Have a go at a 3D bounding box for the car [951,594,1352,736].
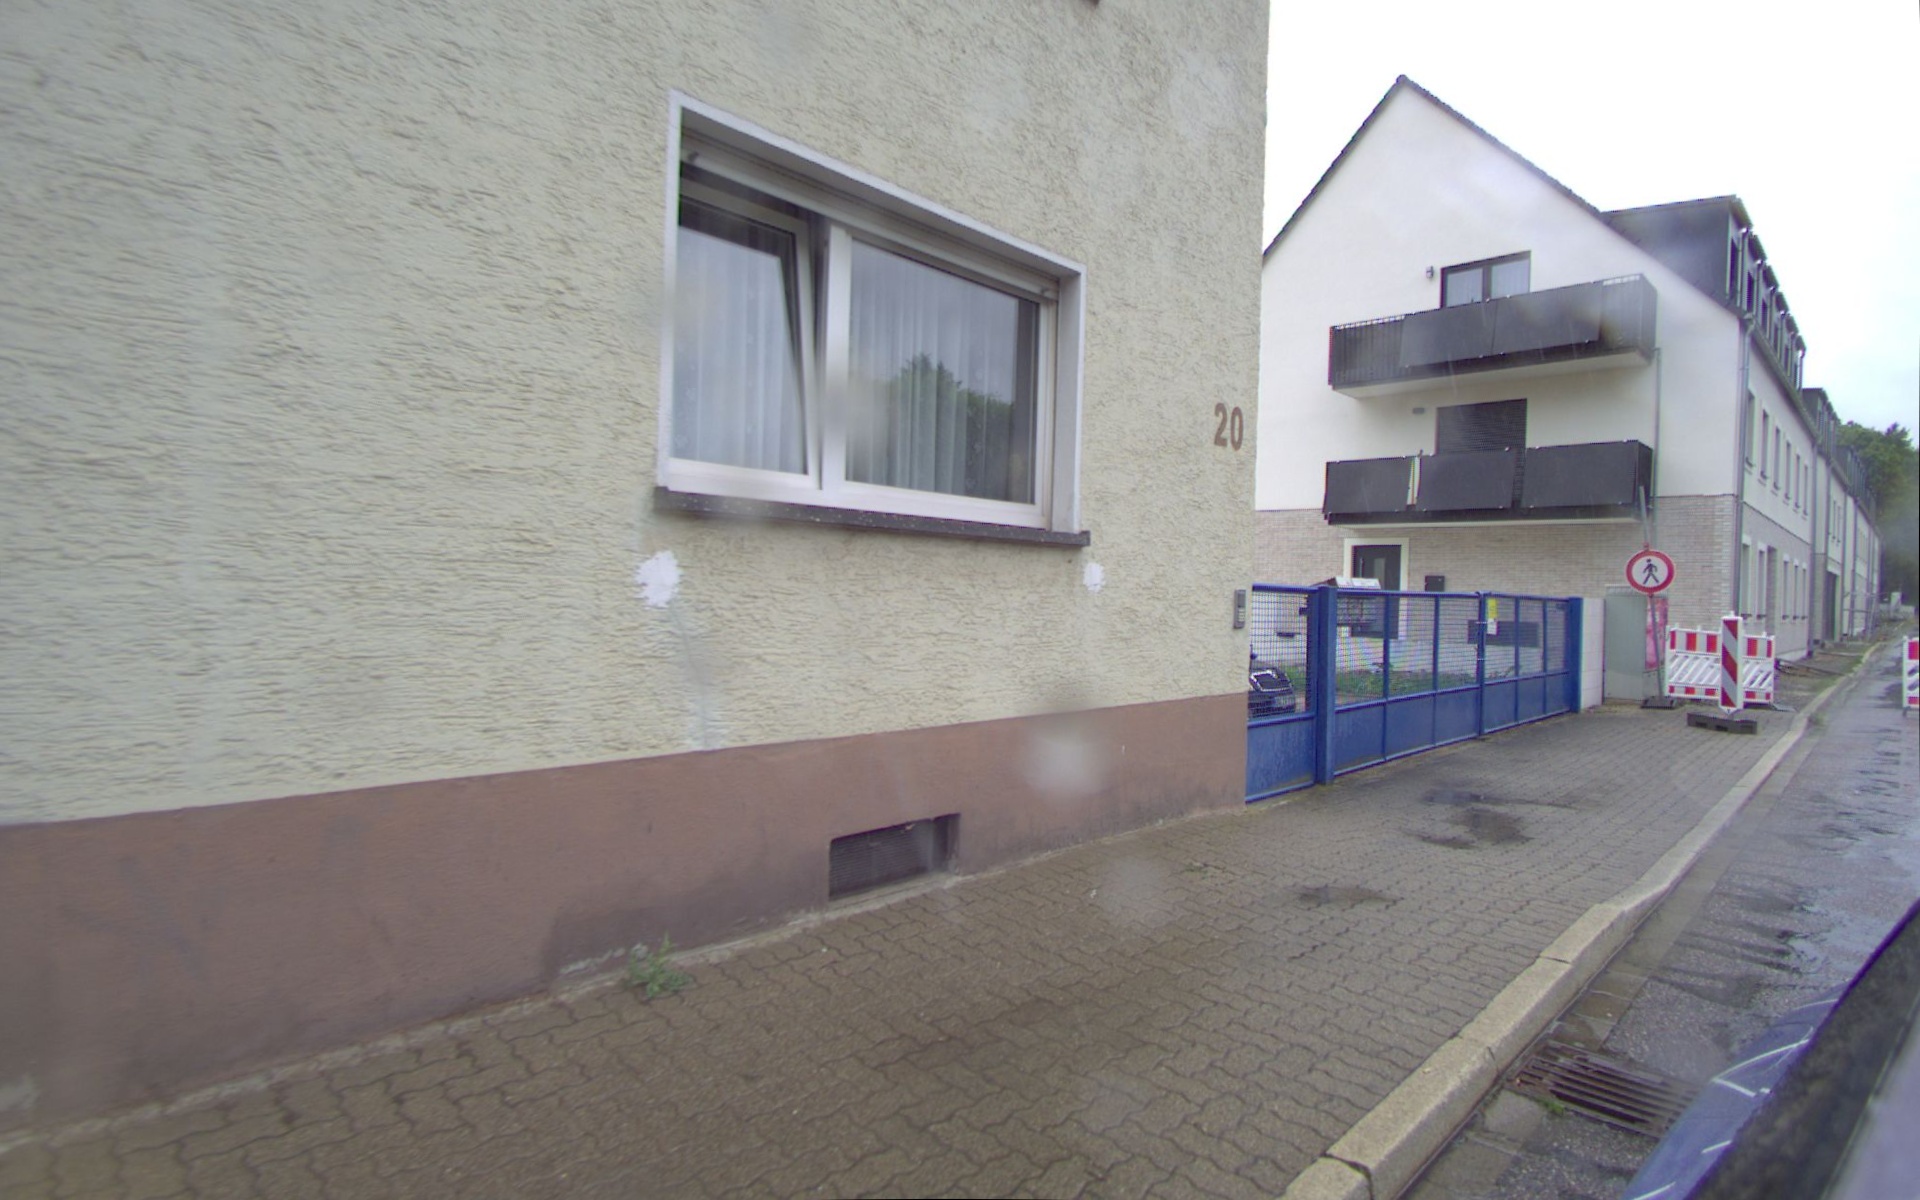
[{"bbox_3d":[2.020,0.663,11.525,4.144,1.319,1.881,-3,-2,45],"label":"car"}]
